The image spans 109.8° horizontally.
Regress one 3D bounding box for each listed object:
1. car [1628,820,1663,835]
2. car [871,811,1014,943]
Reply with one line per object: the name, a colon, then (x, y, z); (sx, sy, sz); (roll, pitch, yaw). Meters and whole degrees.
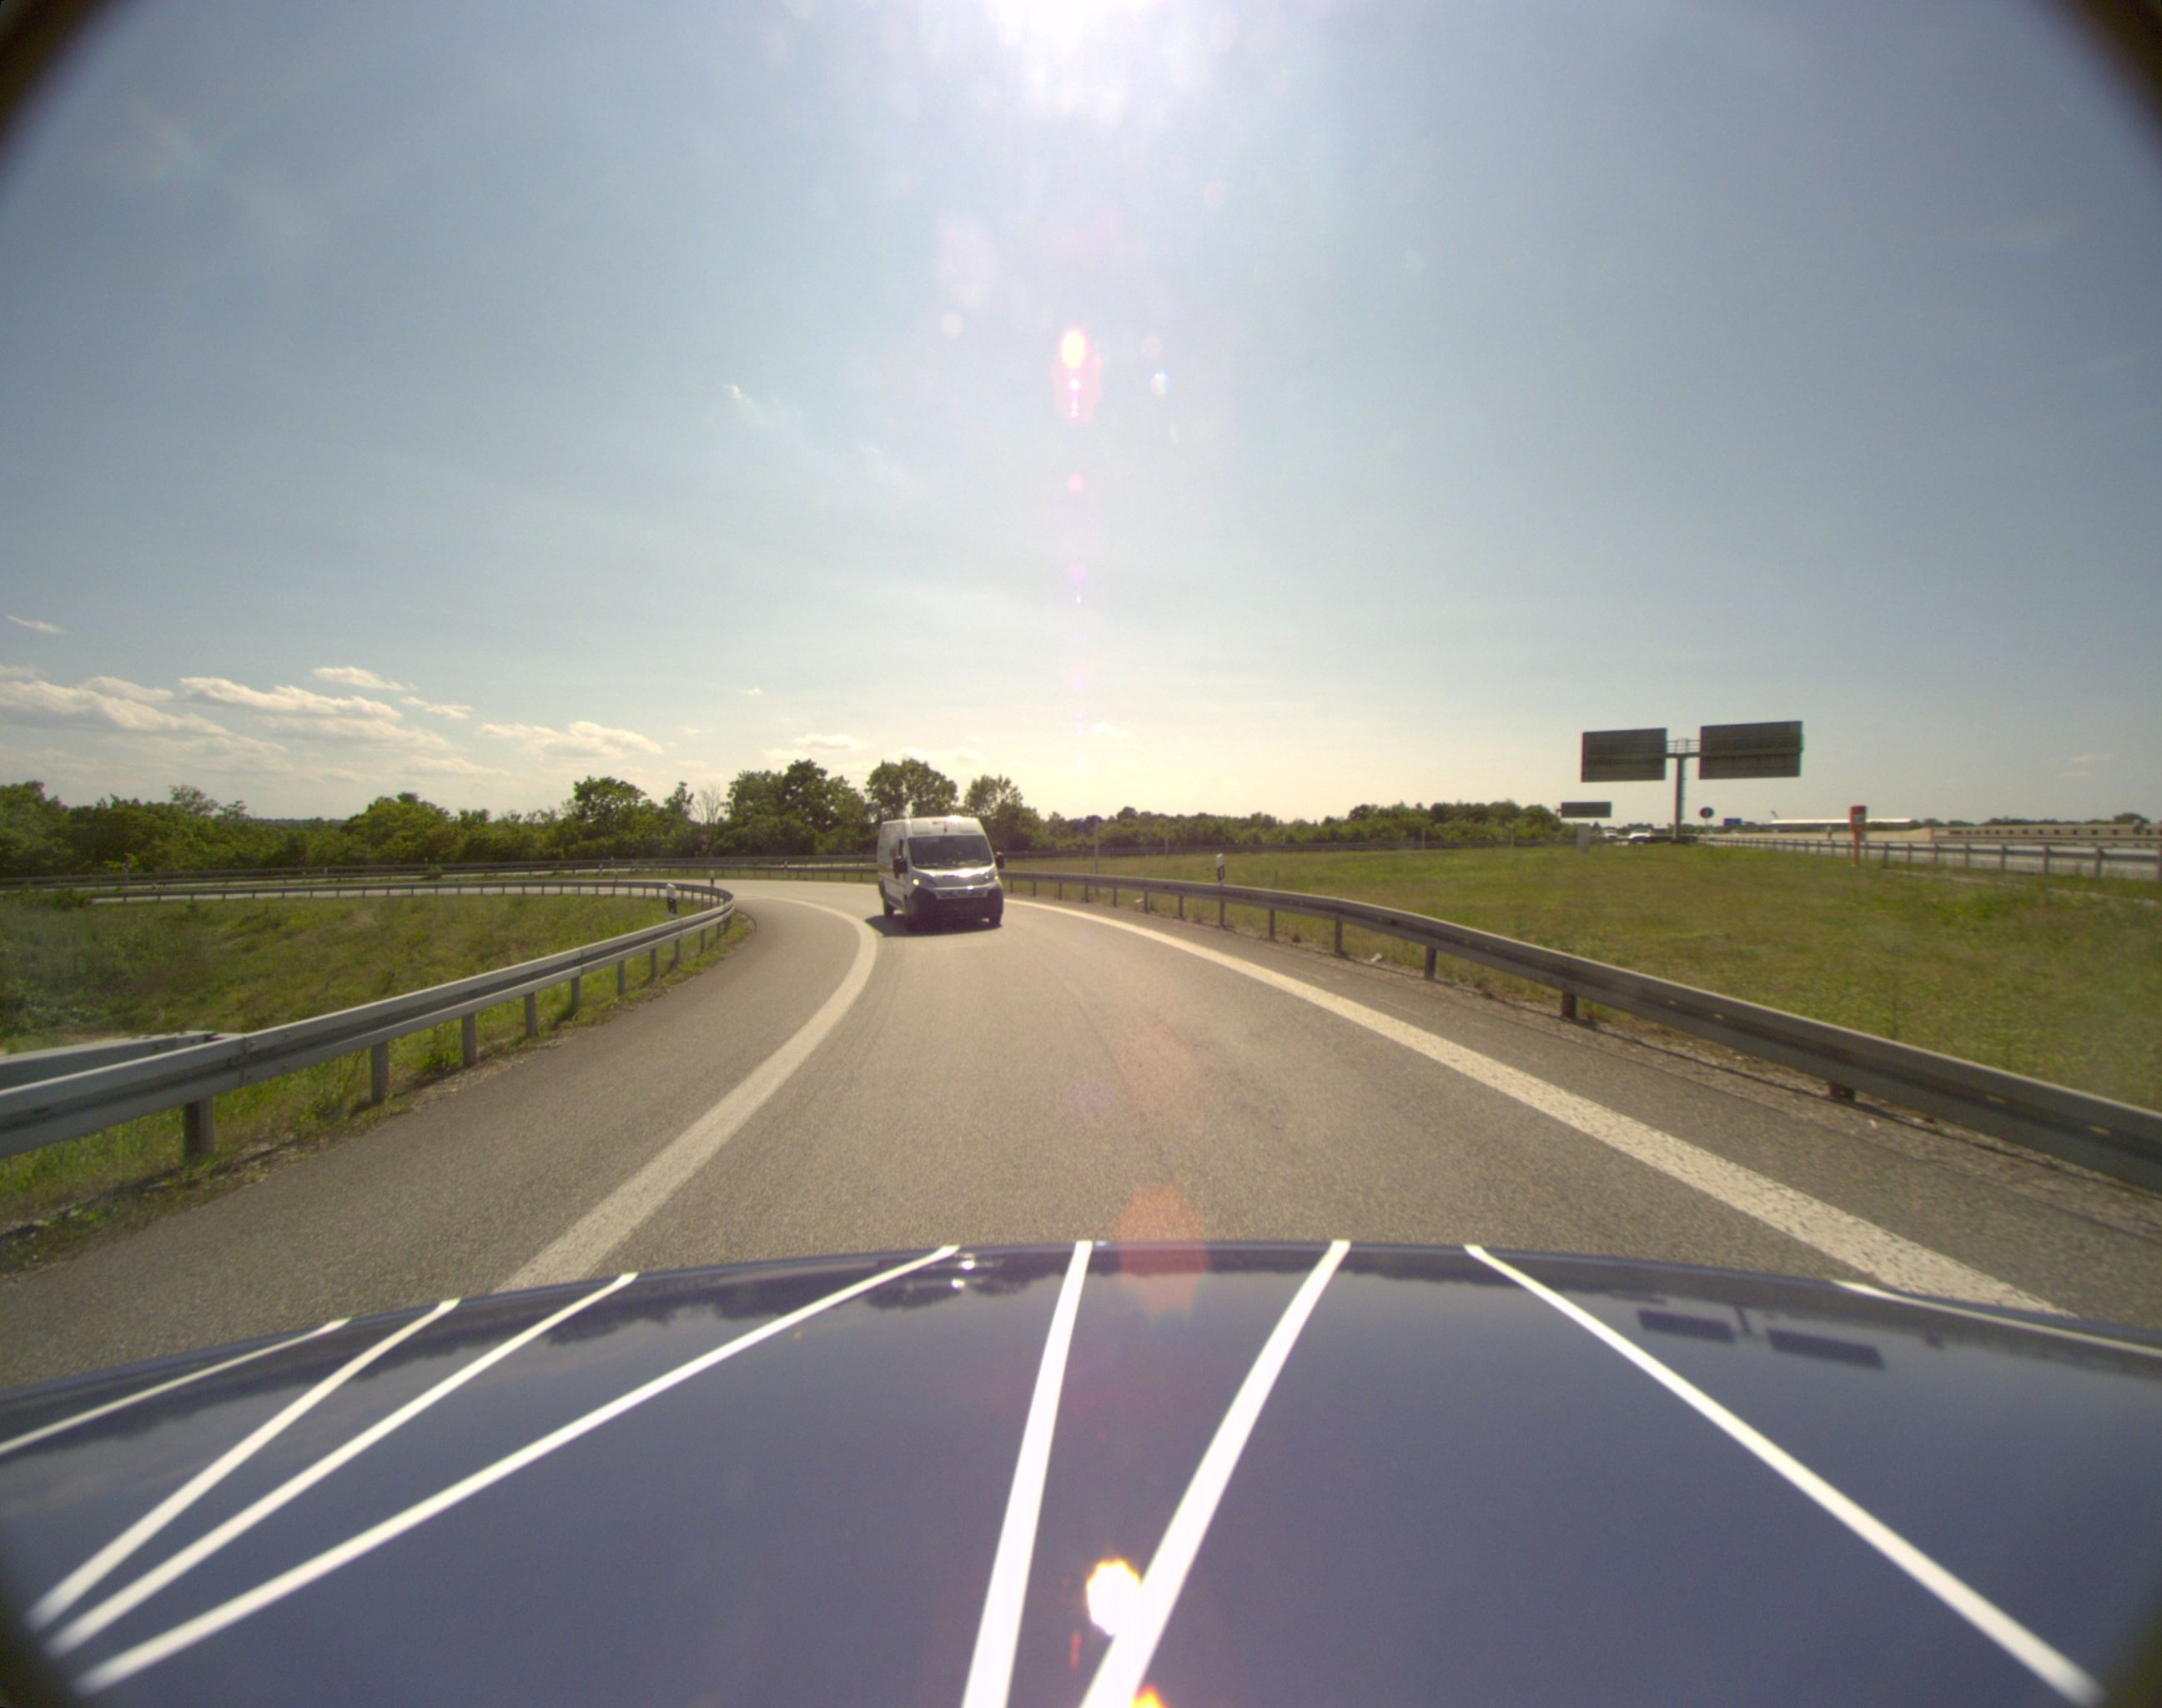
car: (63.886, -3.044, 85.949); (4.306, 1.499, 1.995); (-3, 2, -37)
car: (-3.600, 0.350, 18.466); (2.090, 2.511, 6.223); (-6, 4, -21)
